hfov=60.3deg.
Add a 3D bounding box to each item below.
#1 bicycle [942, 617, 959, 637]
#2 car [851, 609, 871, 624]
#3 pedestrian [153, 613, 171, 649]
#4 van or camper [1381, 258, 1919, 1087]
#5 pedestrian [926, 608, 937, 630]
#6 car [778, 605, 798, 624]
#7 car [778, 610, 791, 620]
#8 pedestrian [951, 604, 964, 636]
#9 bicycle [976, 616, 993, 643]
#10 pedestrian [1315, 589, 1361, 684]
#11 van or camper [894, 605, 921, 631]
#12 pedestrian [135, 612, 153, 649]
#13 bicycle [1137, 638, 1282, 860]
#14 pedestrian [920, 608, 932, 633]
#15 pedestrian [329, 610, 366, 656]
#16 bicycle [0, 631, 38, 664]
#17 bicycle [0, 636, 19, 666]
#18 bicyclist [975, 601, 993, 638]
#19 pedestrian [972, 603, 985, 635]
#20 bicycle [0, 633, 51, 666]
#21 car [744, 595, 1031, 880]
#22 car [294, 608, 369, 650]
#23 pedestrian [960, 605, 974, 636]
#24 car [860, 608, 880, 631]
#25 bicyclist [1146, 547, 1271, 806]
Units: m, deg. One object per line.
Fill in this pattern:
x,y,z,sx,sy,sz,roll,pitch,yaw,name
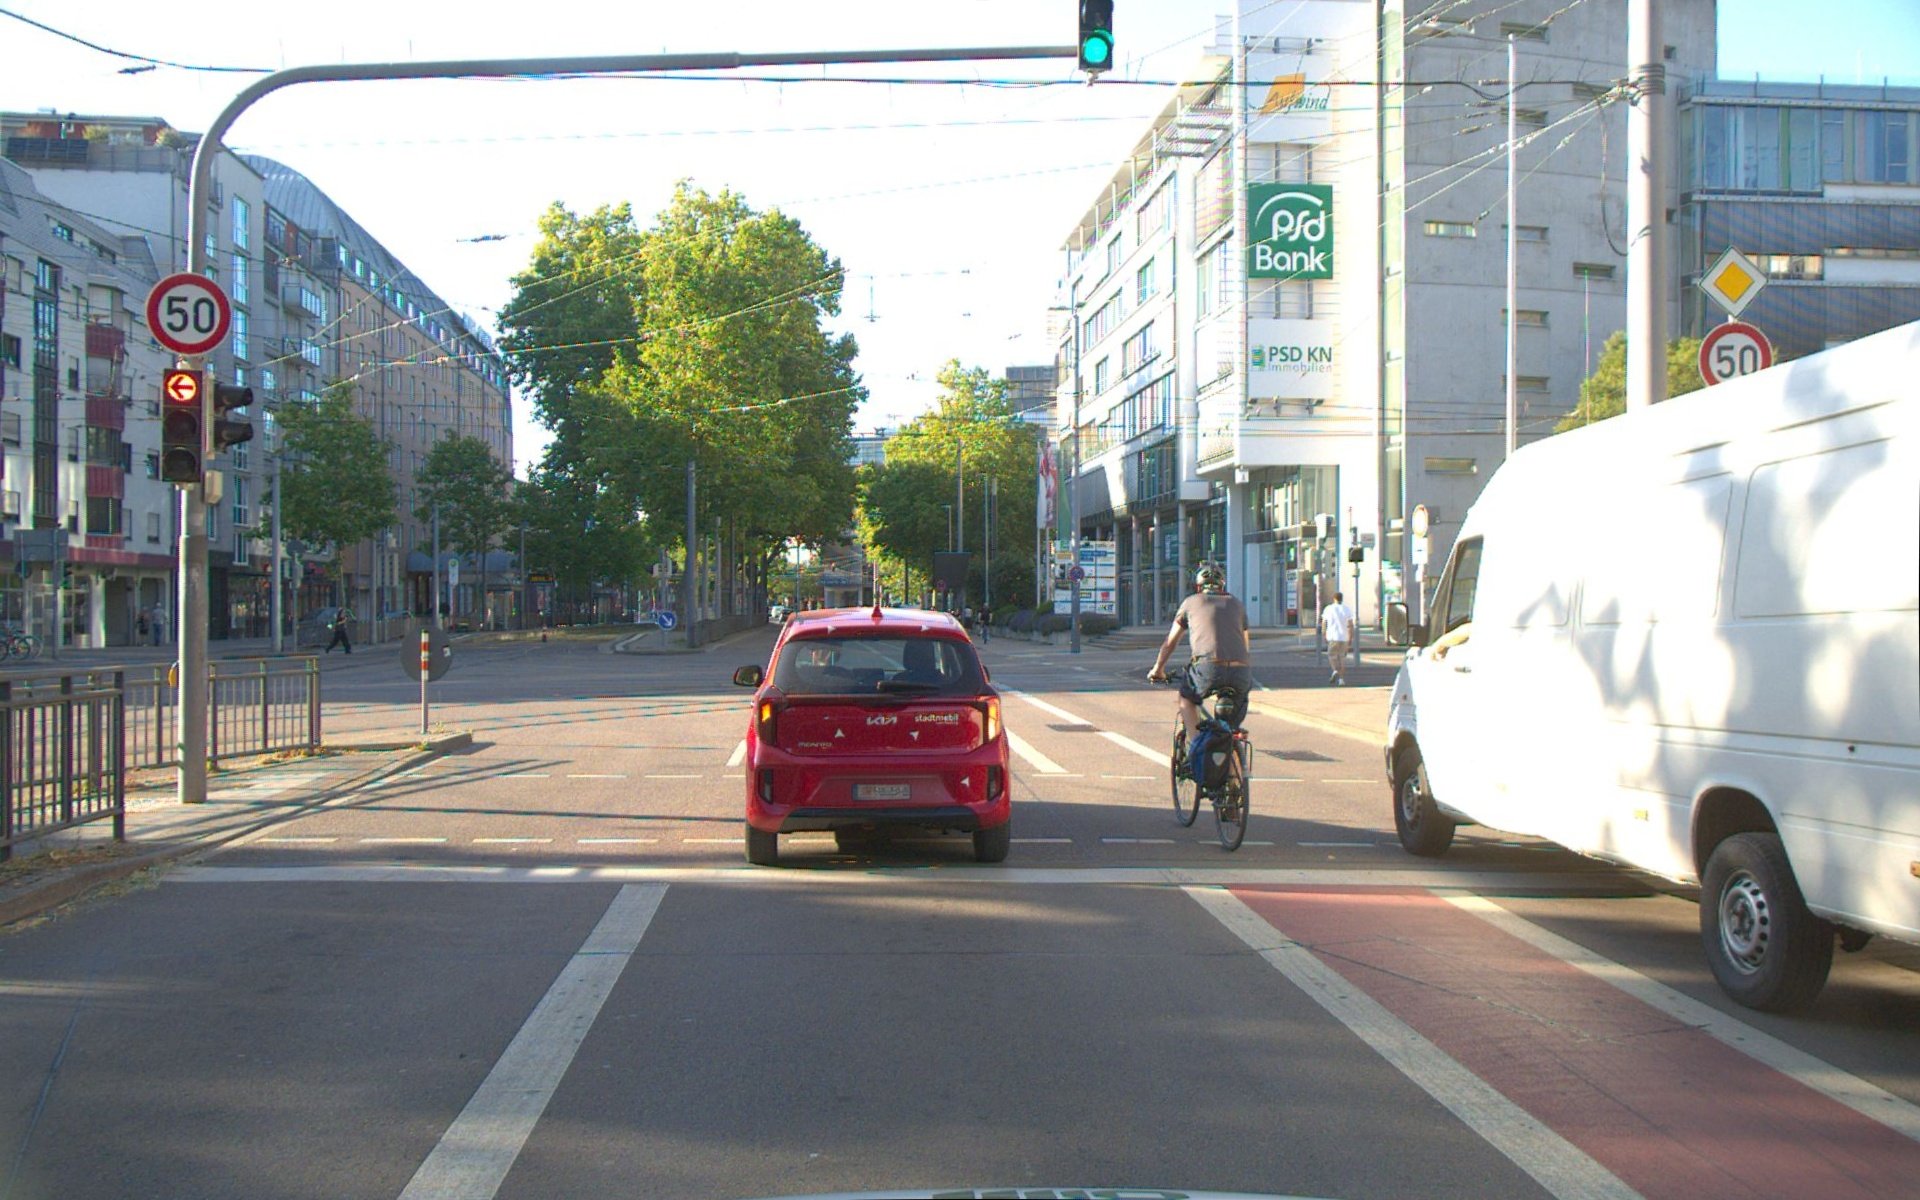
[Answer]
-0.514,1.469,89.615,0.511,0.991,2.196,-4,1,-10,bicycle
-10.461,1.728,174.367,1.745,1.561,3.504,0,0,-10,car
-33.966,1.299,70.426,0.524,1.520,0.586,0,0,-9,pedestrian
4.006,0.254,8.089,1.930,2.764,6.300,1,0,-4,van or camper
-2.307,1.560,135.276,0.873,1.783,0.841,0,0,-1,pedestrian
-18.749,1.575,180.289,1.956,2.049,3.992,0,0,-8,car
-27.041,2.289,254.705,1.745,1.561,3.403,0,0,-10,car
-0.140,1.094,89.845,0.635,1.710,0.650,0,0,-10,pedestrian
1.116,1.305,74.335,0.682,1.117,1.751,-4,1,1,bicycle
7.534,0.715,33.018,0.761,1.855,1.216,-1,0,7,pedestrian
-4.155,1.462,131.455,1.954,2.024,4.740,0,-1,-4,van or camper
-34.616,1.286,70.163,0.524,1.520,0.586,0,0,-9,pedestrian
1.625,0.931,11.045,0.637,1.303,1.965,-1,0,-1,bicycle
-2.207,1.325,107.447,0.630,1.607,0.722,-4,0,-8,pedestrian
-21.016,1.134,56.742,1.025,1.571,0.694,-1,0,-2,pedestrian
-29.444,1.452,50.860,1.808,1.002,0.552,0,0,-8,bicycle
-29.298,1.535,49.595,1.806,0.869,0.553,0,0,-3,bicycle
1.087,0.868,74.256,0.707,1.631,1.089,-3,0,2,bicyclist
1.062,1.084,94.449,0.530,1.827,0.905,-3,0,-7,pedestrian
-29.384,1.549,51.475,1.808,1.002,0.552,0,0,-8,bicycle
-0.542,0.767,10.864,1.582,1.561,3.408,0,0,-5,car
-26.647,1.220,70.275,1.917,1.702,4.255,0,0,-6,car
0.405,1.158,94.337,0.553,1.732,0.905,-3,0,-7,pedestrian
-7.239,1.577,133.295,1.603,1.831,3.327,-1,0,-3,car
1.631,0.482,10.989,0.637,1.631,1.088,-1,0,-1,bicyclist
